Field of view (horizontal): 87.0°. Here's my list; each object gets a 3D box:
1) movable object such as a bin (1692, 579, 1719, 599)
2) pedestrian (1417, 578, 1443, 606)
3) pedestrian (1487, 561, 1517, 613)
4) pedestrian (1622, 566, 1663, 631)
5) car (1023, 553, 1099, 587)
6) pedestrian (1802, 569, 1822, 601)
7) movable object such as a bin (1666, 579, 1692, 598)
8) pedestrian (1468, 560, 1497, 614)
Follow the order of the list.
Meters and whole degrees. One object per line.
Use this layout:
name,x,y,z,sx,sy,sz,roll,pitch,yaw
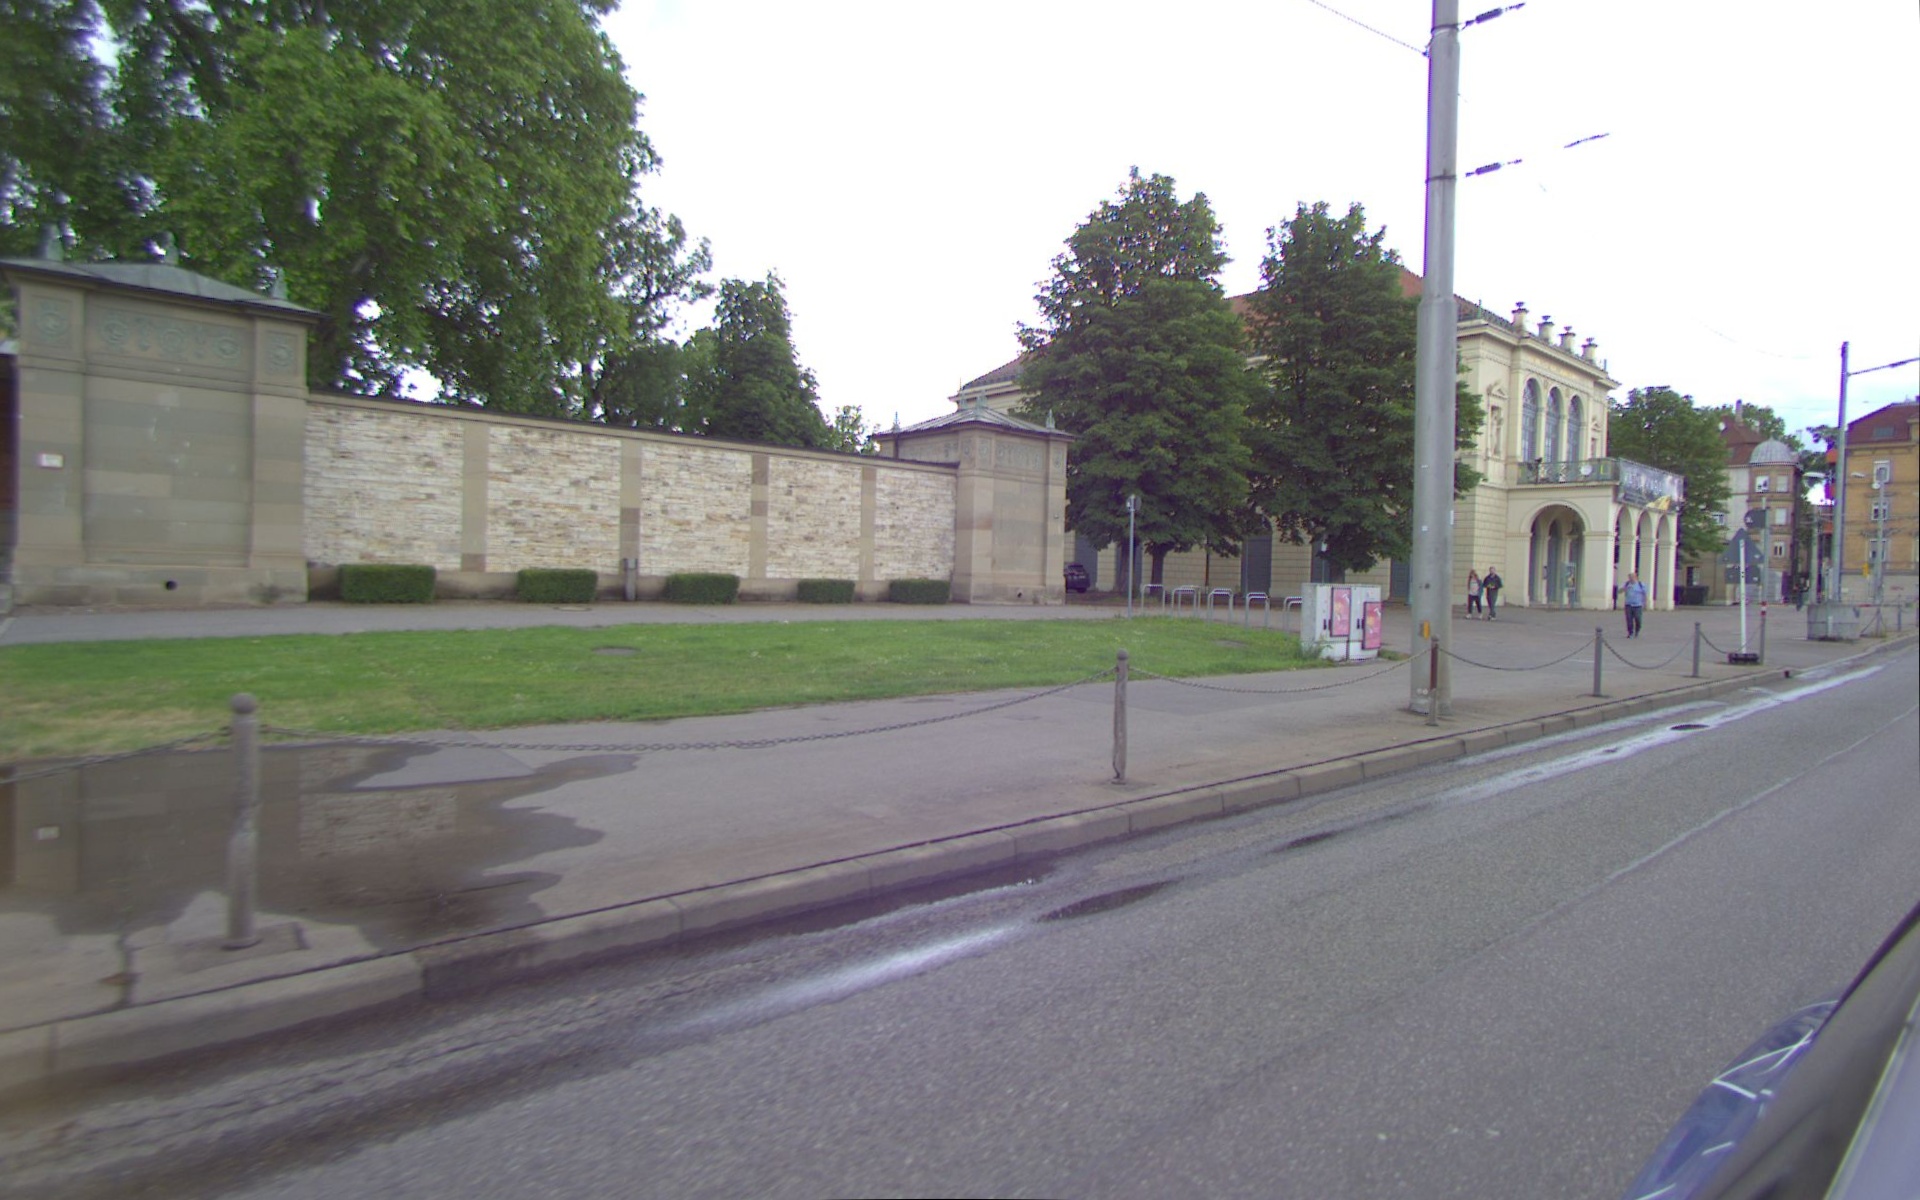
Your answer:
movable object such as a bin,54.938,-0.831,74.539,1.355,1.385,1.297,0,2,-41
pedestrian,17.173,-0.296,36.968,0.748,1.013,0.594,2,2,15
pedestrian,18.233,-0.432,34.022,0.776,1.720,0.597,0,2,-41
pedestrian,19.216,-0.044,28.493,0.920,1.789,0.672,0,2,-41
car,5.245,-1.525,52.864,1.867,1.672,3.784,-1,0,-40
pedestrian,48.006,-0.856,57.019,0.920,1.789,0.672,0,2,-41
movable object such as a bin,53.824,-0.876,75.760,1.355,1.423,1.297,0,2,-41
pedestrian,17.796,-0.444,34.466,0.794,1.814,0.596,0,2,-41
